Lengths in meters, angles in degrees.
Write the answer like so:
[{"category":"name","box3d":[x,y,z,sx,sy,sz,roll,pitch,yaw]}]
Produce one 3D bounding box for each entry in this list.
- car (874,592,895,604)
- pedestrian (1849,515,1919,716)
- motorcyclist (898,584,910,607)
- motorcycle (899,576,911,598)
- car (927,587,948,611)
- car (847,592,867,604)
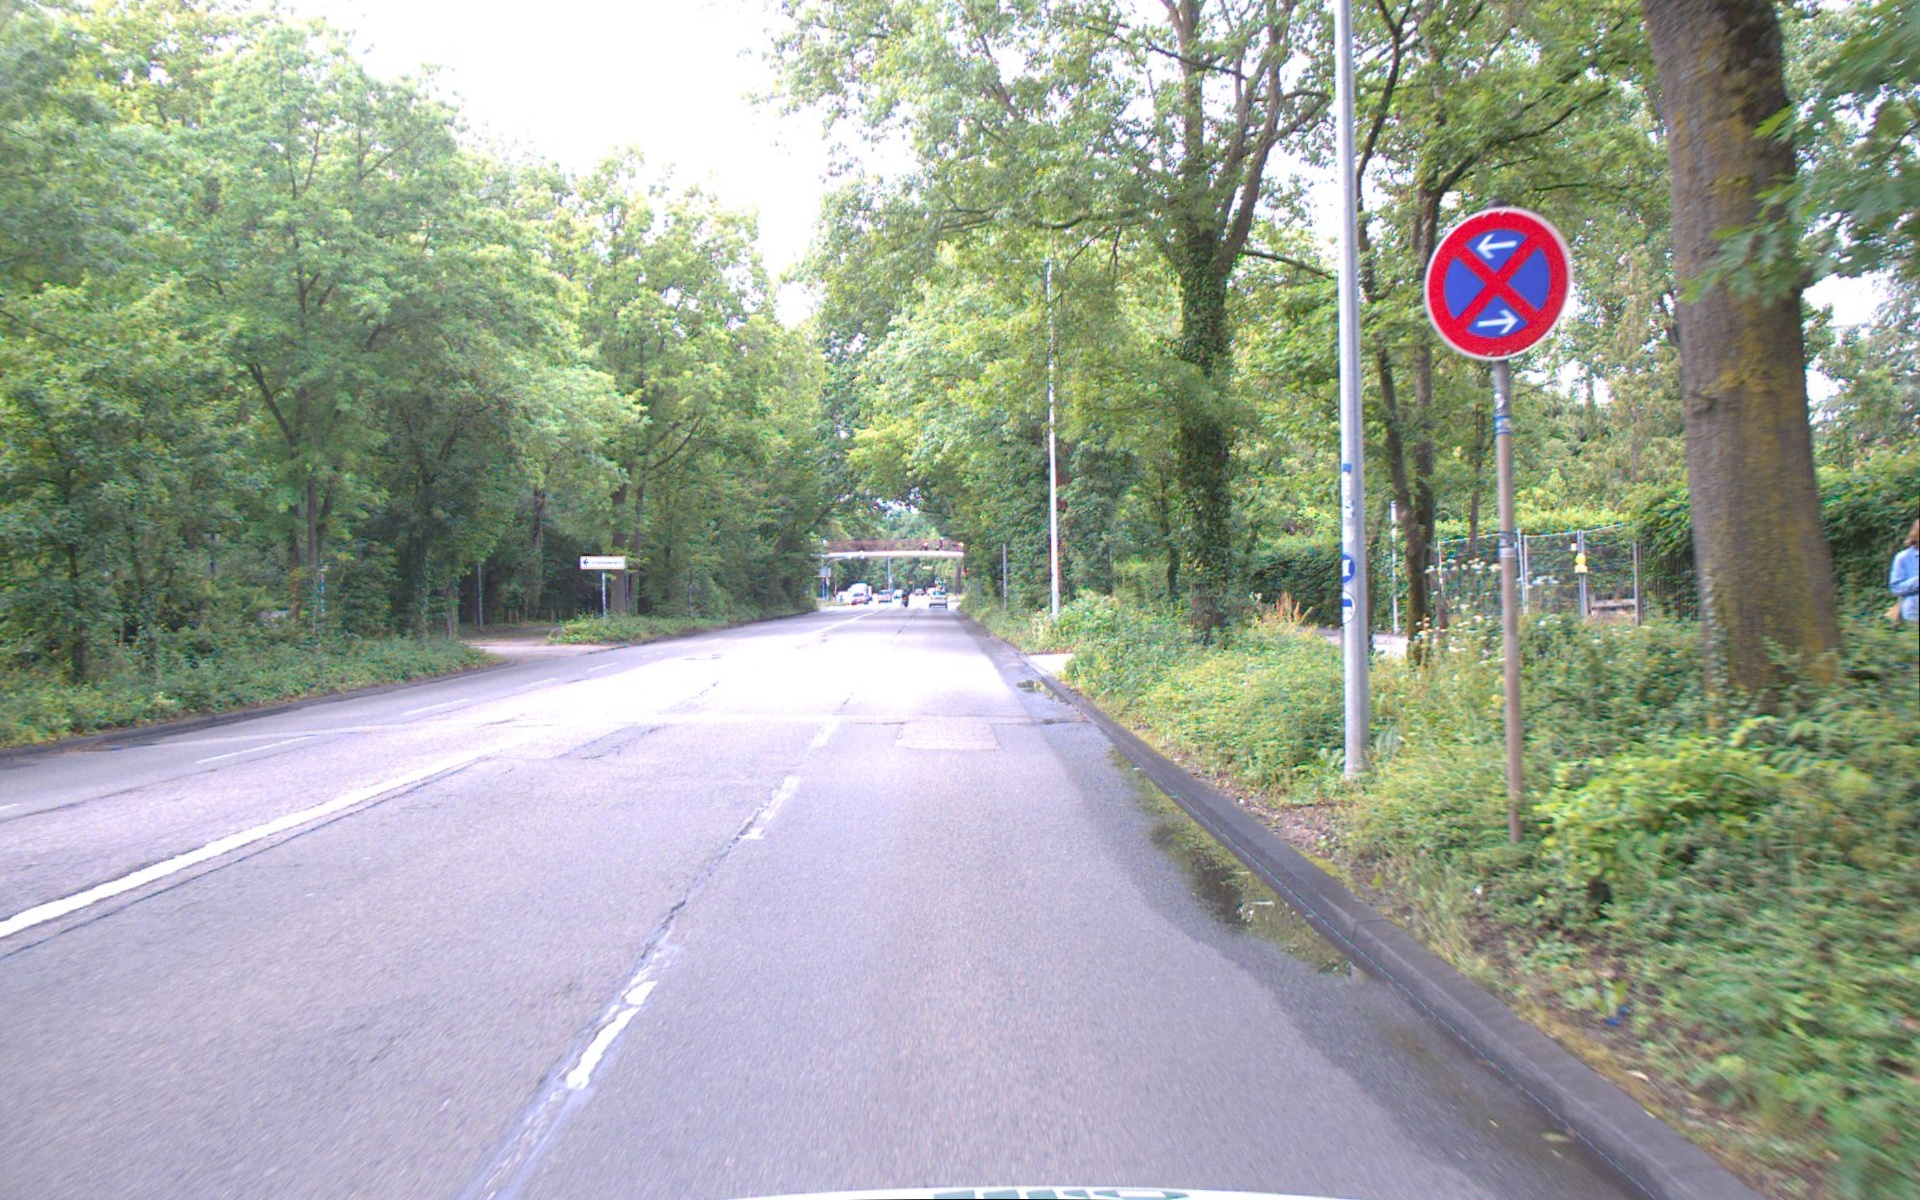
[{"category":"car","box3d":[-8.655,-0.195,189.321,1.639,1.386,3.924,0,0,10]},{"category":"pedestrian","box3d":[8.205,0.119,14.270,0.561,1.680,0.820,-2,0,-1]},{"category":"motorcyclist","box3d":[-4.960,-0.368,146.463,1.042,2.049,0.842,0,0,-1]},{"category":"motorcycle","box3d":[-4.881,-1.148,146.638,0.970,1.970,2.668,0,0,-1]},{"category":"car","box3d":[-1.933,-0.046,143.218,1.806,2.049,3.999,0,0,-1]},{"category":"car","box3d":[-11.795,-0.236,189.548,1.952,1.377,3.895,0,0,2]}]
